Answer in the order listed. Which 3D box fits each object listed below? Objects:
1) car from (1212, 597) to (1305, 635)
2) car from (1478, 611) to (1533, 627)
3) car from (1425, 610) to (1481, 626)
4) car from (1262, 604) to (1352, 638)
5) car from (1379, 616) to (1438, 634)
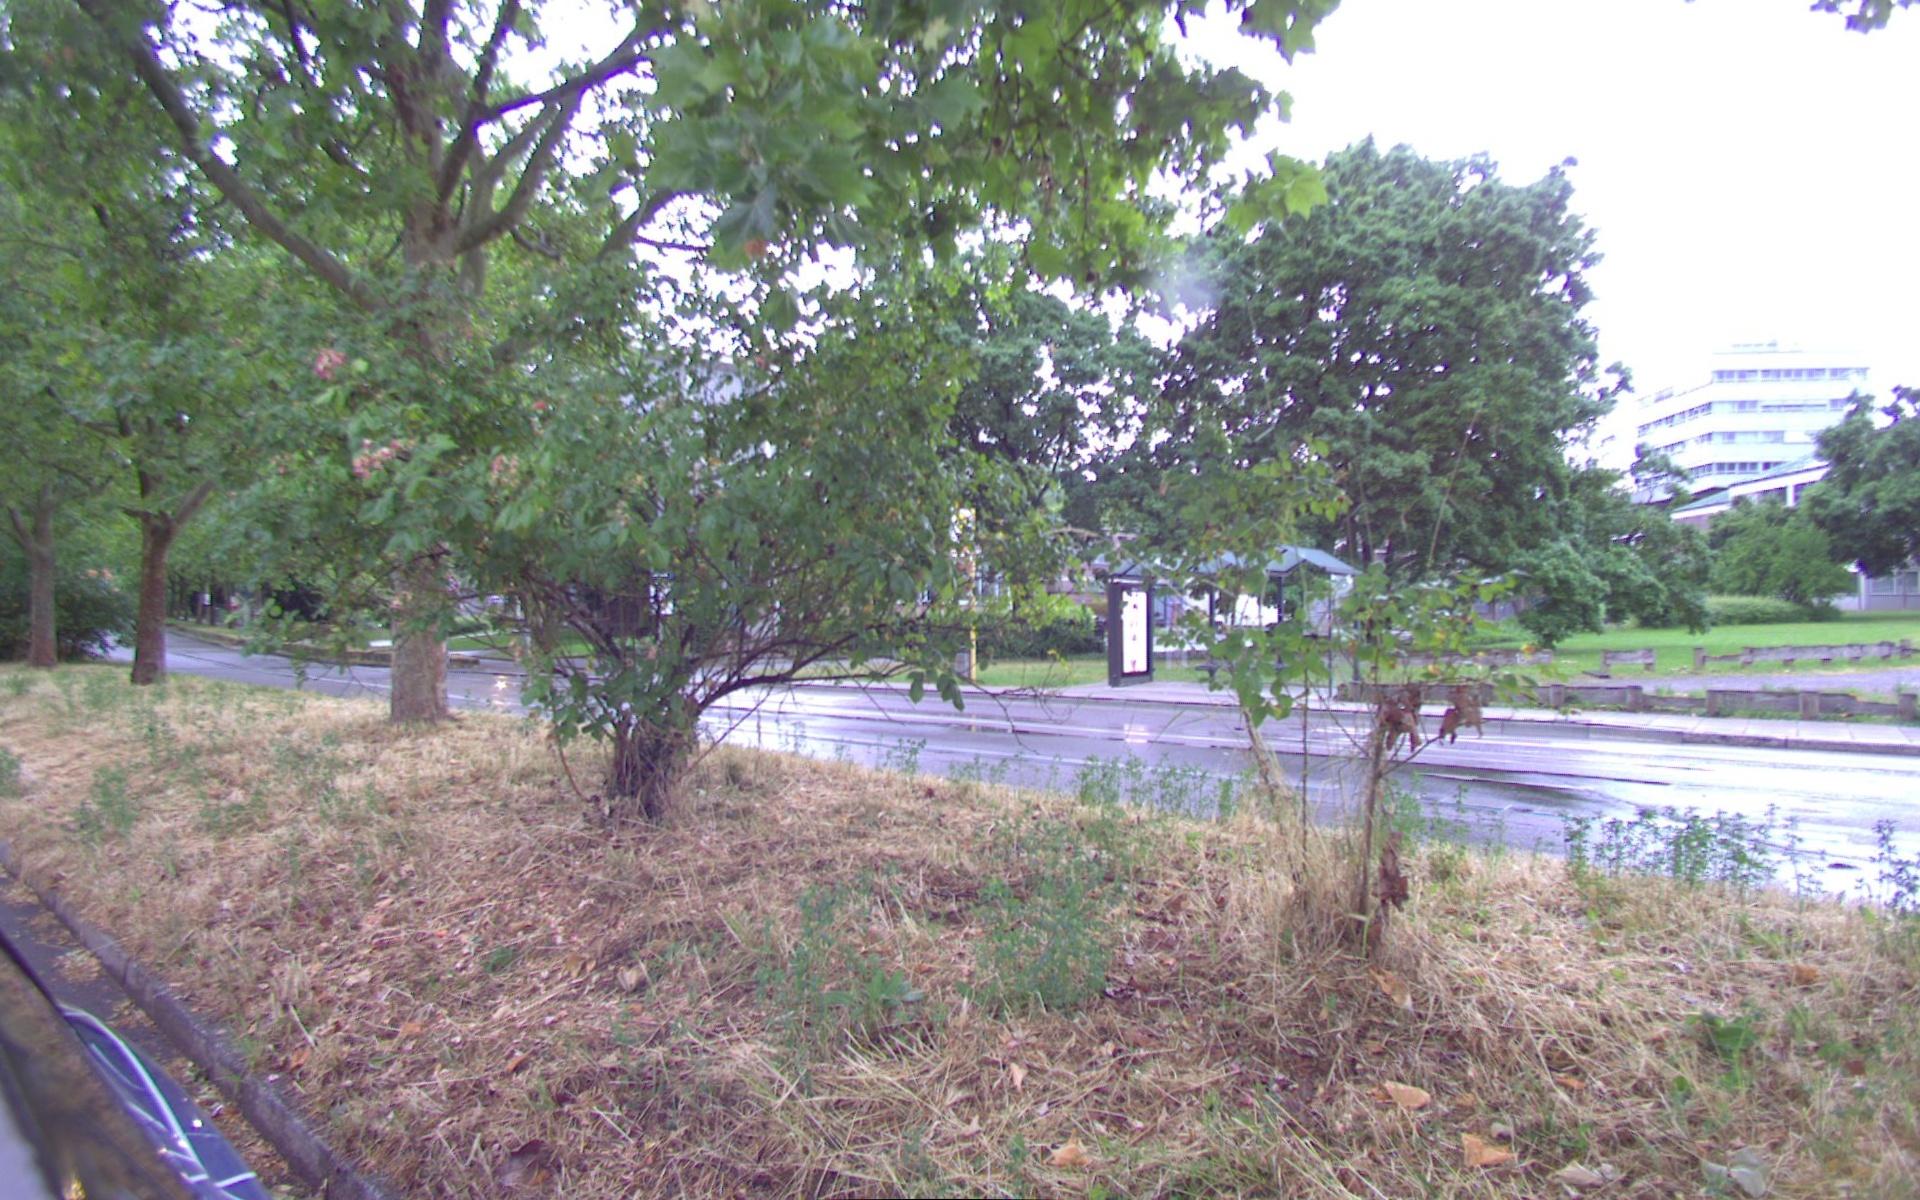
[{"bbox_3d":[18.481,0.926,62.940,2.080,2.229,5.483,-1,1,-33],"label":"car"},{"bbox_3d":[43.946,1.536,81.604,1.566,1.151,3.564,-1,1,-37],"label":"car"},{"bbox_3d":[37.712,1.358,77.479,1.566,1.151,3.564,-1,1,-37],"label":"car"},{"bbox_3d":[22.286,1.324,65.218,2.251,2.037,5.091,-1,1,-36],"label":"car"},{"bbox_3d":[32.239,1.781,72.762,1.566,1.151,3.564,-1,1,-37],"label":"car"}]
